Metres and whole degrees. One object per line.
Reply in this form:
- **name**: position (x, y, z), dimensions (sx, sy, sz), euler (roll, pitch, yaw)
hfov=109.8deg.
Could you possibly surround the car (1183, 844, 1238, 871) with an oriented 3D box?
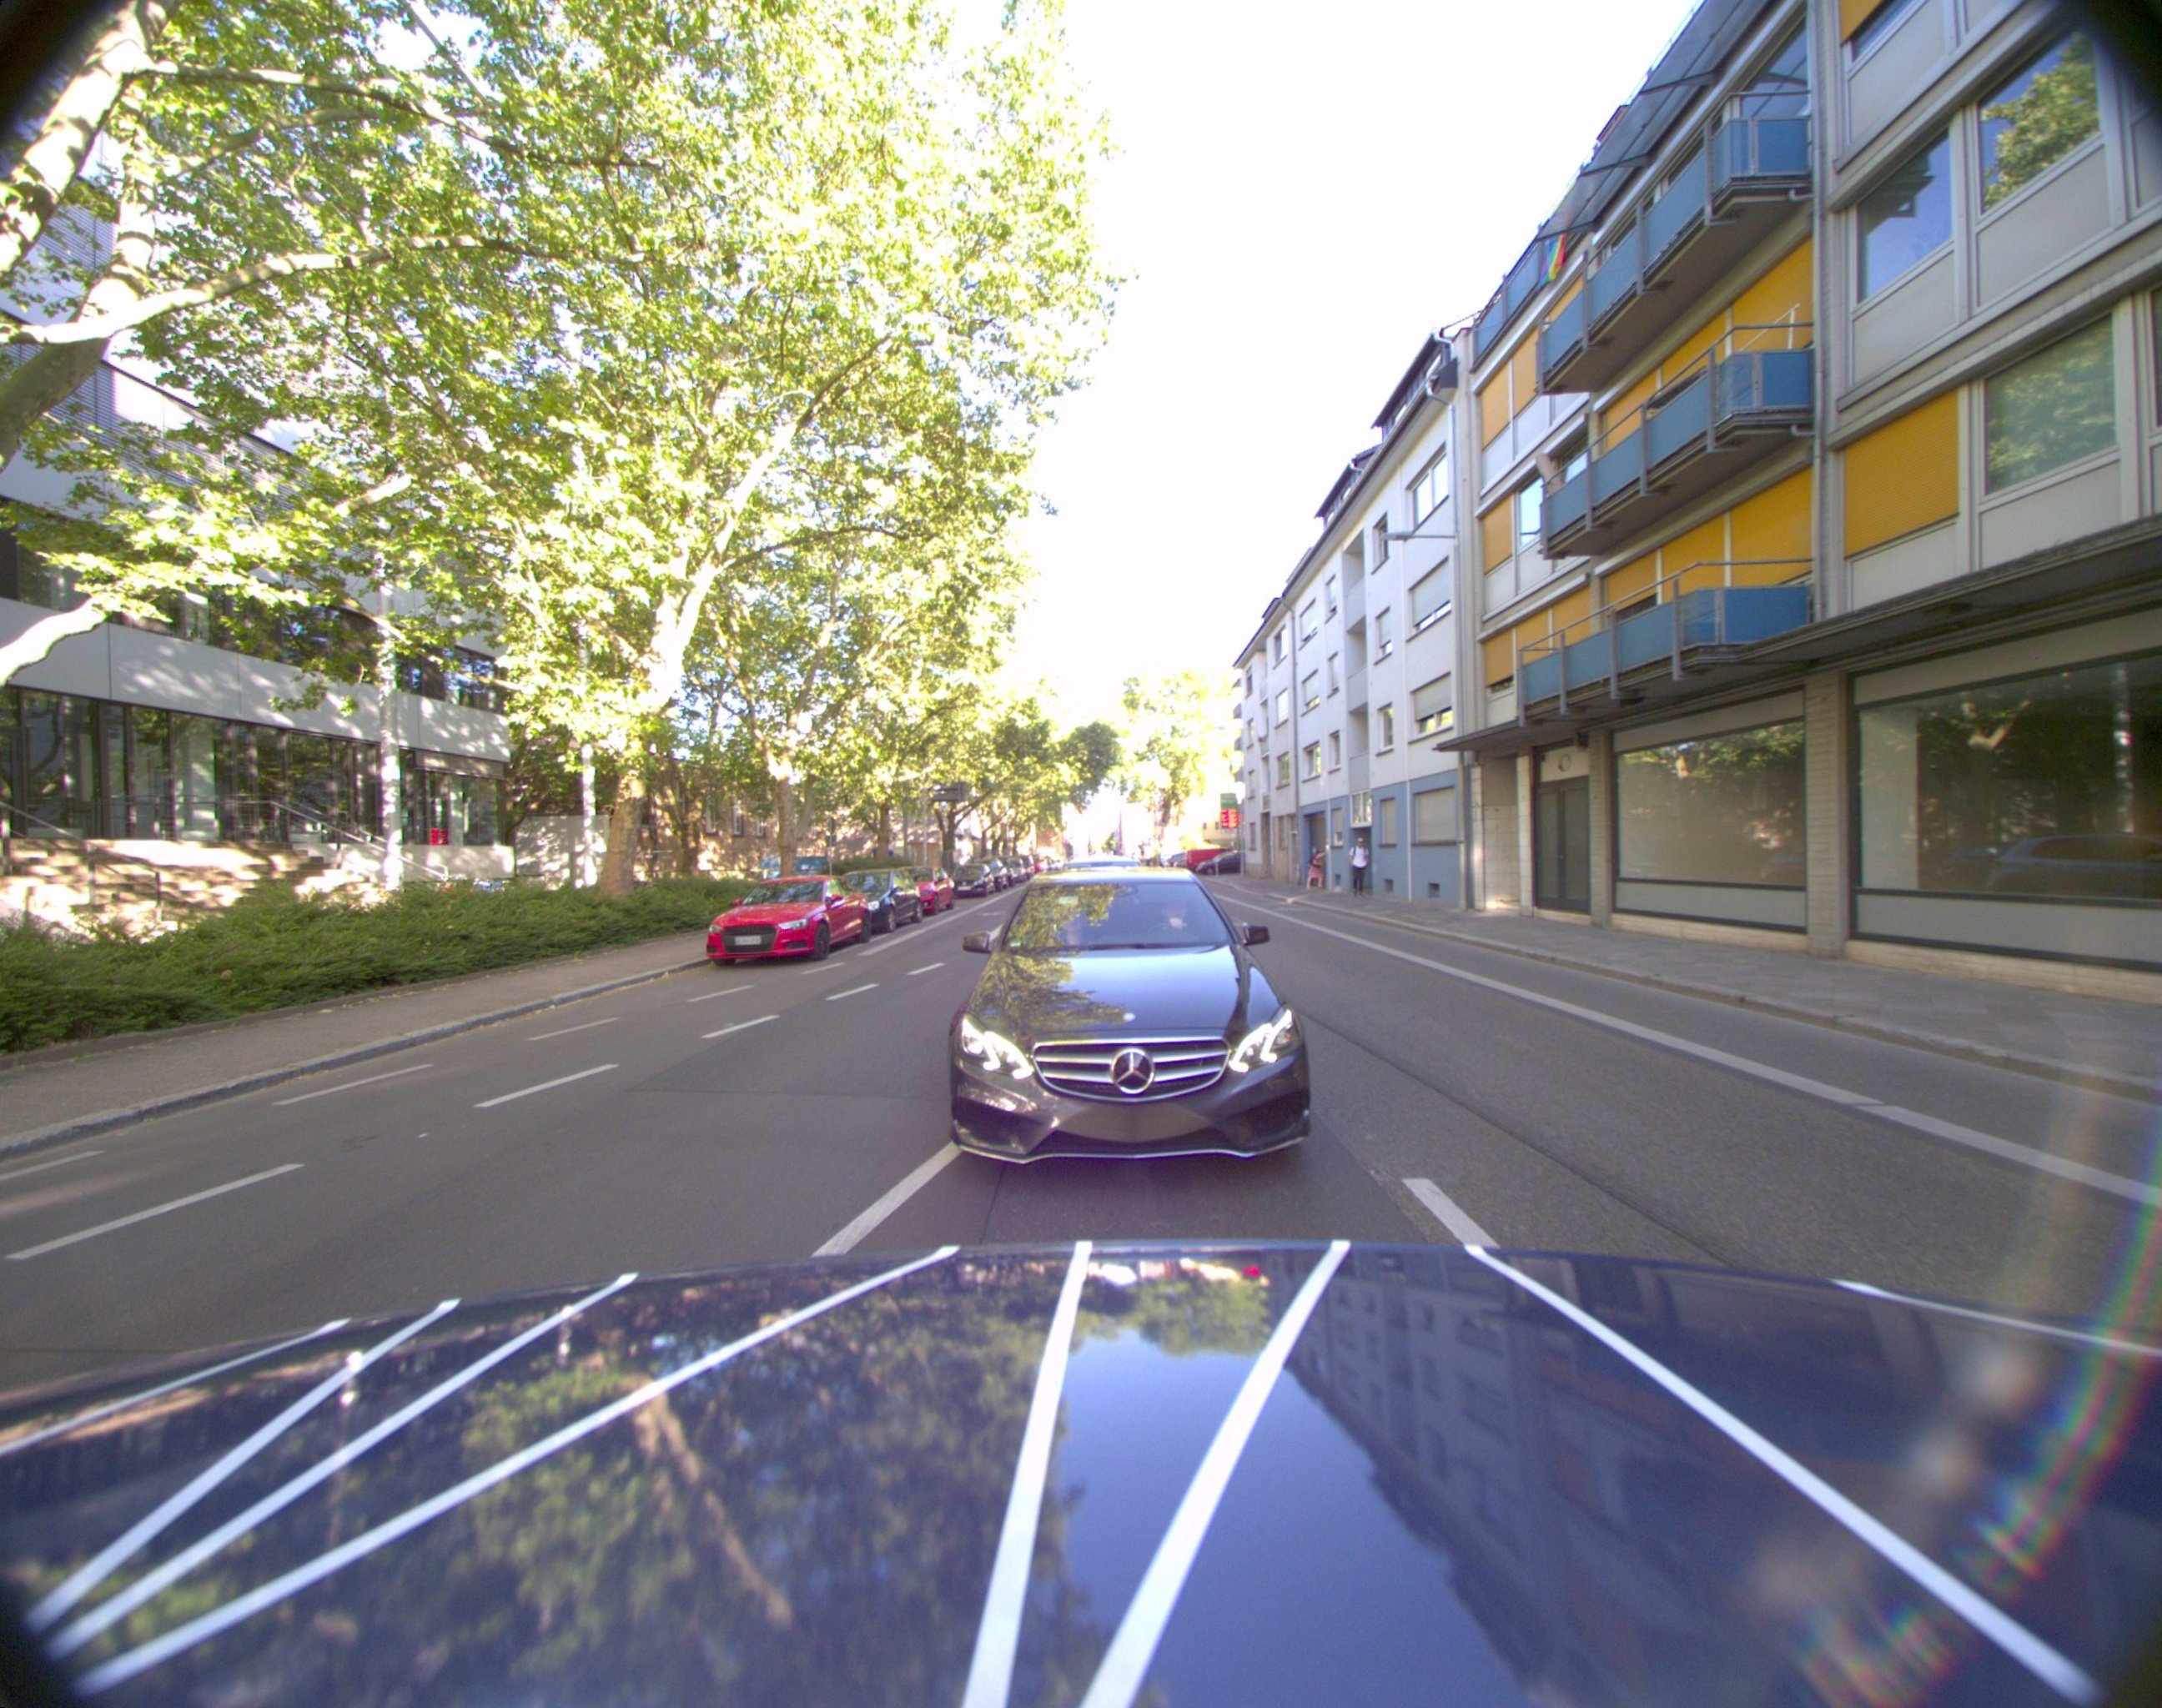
- **car**: position (10.195, 0.261, 60.016), dimensions (3.927, 1.912, 1.636), euler (-3, 0, 1)

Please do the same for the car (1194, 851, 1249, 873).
- **car**: position (10.087, 0.558, 54.727), dimensions (3.670, 1.403, 1.636), euler (-3, 0, 1)

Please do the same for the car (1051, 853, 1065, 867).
- **car**: position (-3.047, 0.790, 102.744), dimensions (1.635, 1.713, 3.673), euler (-3, 0, 1)

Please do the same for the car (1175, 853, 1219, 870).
- **car**: position (9.549, 0.638, 62.627), dimensions (3.325, 1.241, 1.295), euler (-3, 0, 1)

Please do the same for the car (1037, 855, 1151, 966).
- **car**: position (0.232, 0.884, 13.824), dimensions (1.680, 1.622, 4.125), euler (-3, 0, 1)

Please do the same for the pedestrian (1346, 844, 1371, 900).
- **pedestrian**: position (8.632, 0.550, 23.673), dimensions (0.569, 1.716, 0.343), euler (-3, 1, 1)

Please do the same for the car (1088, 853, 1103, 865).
- **car**: position (1.944, 0.661, 103.589), dimensions (1.853, 1.455, 4.099), euler (-3, 0, 1)

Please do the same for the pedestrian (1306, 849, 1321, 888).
- **pedestrian**: position (9.153, 0.573, 29.911), dimensions (0.342, 1.509, 0.571), euler (-3, 1, 35)

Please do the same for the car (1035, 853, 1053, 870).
- **car**: position (-3.941, 0.758, 82.070), dimensions (1.635, 1.713, 3.673), euler (-3, 0, 1)

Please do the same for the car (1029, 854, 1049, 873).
- **car**: position (-3.932, 0.875, 71.590), dimensions (1.635, 1.713, 3.673), euler (-3, 0, 1)

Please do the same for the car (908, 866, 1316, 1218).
- **car**: position (0.170, 0.901, 5.553), dimensions (1.804, 1.455, 4.125), euler (-3, 0, 1)

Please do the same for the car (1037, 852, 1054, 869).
- **car**: position (-3.954, 0.716, 86.067), dimensions (1.635, 1.713, 3.673), euler (-3, 0, 1)

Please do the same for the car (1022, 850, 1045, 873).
- **car**: position (-4.135, 0.639, 66.125), dimensions (1.635, 1.878, 3.673), euler (-3, 0, 1)

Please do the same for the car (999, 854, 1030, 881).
- **car**: position (-4.415, 0.896, 50.741), dimensions (1.635, 1.644, 3.845), euler (-3, 0, 1)

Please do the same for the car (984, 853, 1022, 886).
- **car**: position (-4.497, 0.854, 44.272), dimensions (1.635, 1.795, 3.845), euler (-3, 0, 1)

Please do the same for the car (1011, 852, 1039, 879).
- **car**: position (-4.076, 0.828, 55.542), dimensions (1.635, 1.799, 3.673), euler (-3, 0, 1)

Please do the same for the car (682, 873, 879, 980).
- **car**: position (-5.156, 1.163, 13.707), dimensions (1.804, 1.455, 4.125), euler (-3, 0, 1)

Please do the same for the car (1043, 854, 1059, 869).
- **car**: position (-3.639, 0.925, 92.334), dimensions (1.635, 1.713, 3.673), euler (-3, 0, 1)

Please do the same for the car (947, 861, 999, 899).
- **car**: position (-4.664, 1.092, 33.197), dimensions (1.635, 1.455, 3.740), euler (-3, 0, 1)

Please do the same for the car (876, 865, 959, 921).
- **car**: position (-4.981, 1.144, 23.639), dimensions (1.635, 1.455, 3.740), euler (-3, 0, 1)

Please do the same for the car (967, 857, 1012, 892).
- **car**: position (-4.531, 0.970, 38.058), dimensions (1.635, 1.578, 3.845), euler (-3, 0, 1)

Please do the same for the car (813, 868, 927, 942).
- **car**: position (-5.000, 1.146, 18.512), dimensions (1.635, 1.455, 3.740), euler (-3, 0, 1)
